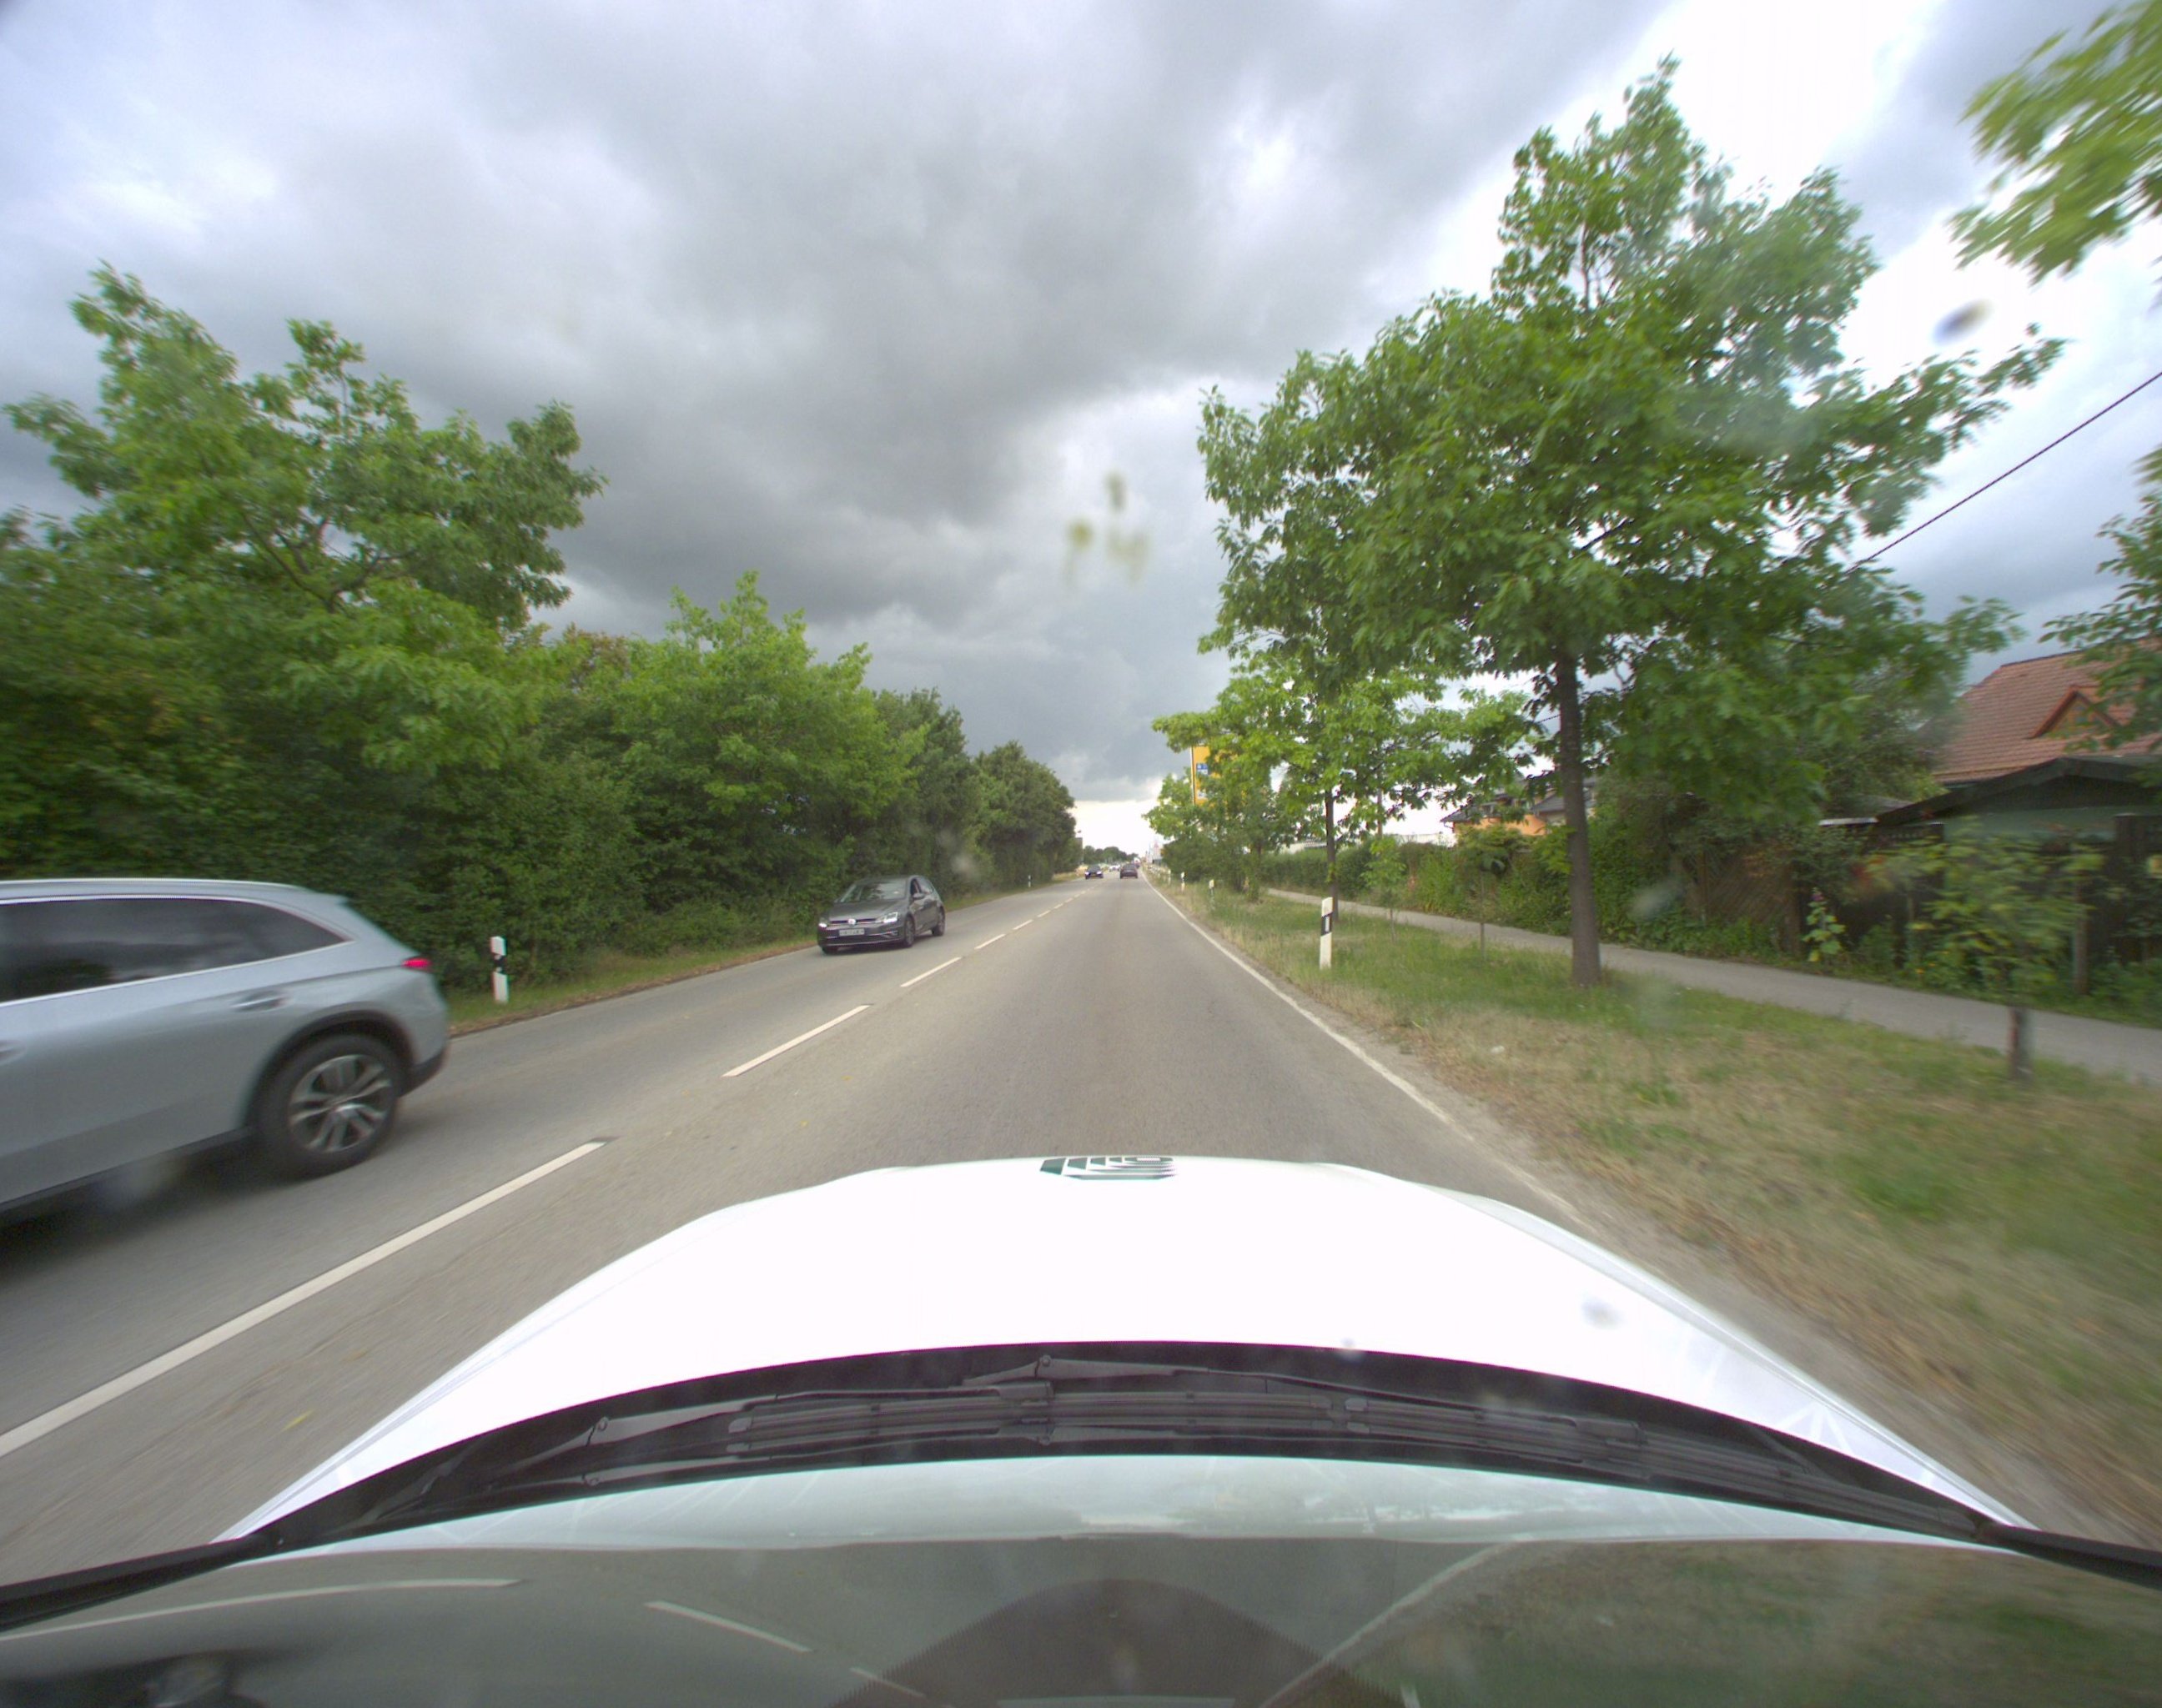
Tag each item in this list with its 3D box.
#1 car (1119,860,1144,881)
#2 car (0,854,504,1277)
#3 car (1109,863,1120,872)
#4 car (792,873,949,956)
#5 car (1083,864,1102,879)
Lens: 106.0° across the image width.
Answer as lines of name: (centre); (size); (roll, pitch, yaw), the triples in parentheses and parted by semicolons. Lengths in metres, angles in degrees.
car: (5.179, 1.700, 84.072); (2.363, 1.881, 4.479); (-3, -1, 1)
car: (-5.105, 0.860, 3.248); (1.985, 1.601, 4.670); (-3, -1, 4)
car: (6.845, 2.830, 167.249); (1.985, 1.684, 4.814); (-2, -1, 4)
car: (-4.266, 1.171, 17.331); (1.986, 1.419, 4.479); (-3, -1, 2)
car: (1.297, 1.924, 90.156); (1.933, 1.586, 4.557); (-3, -1, 2)
